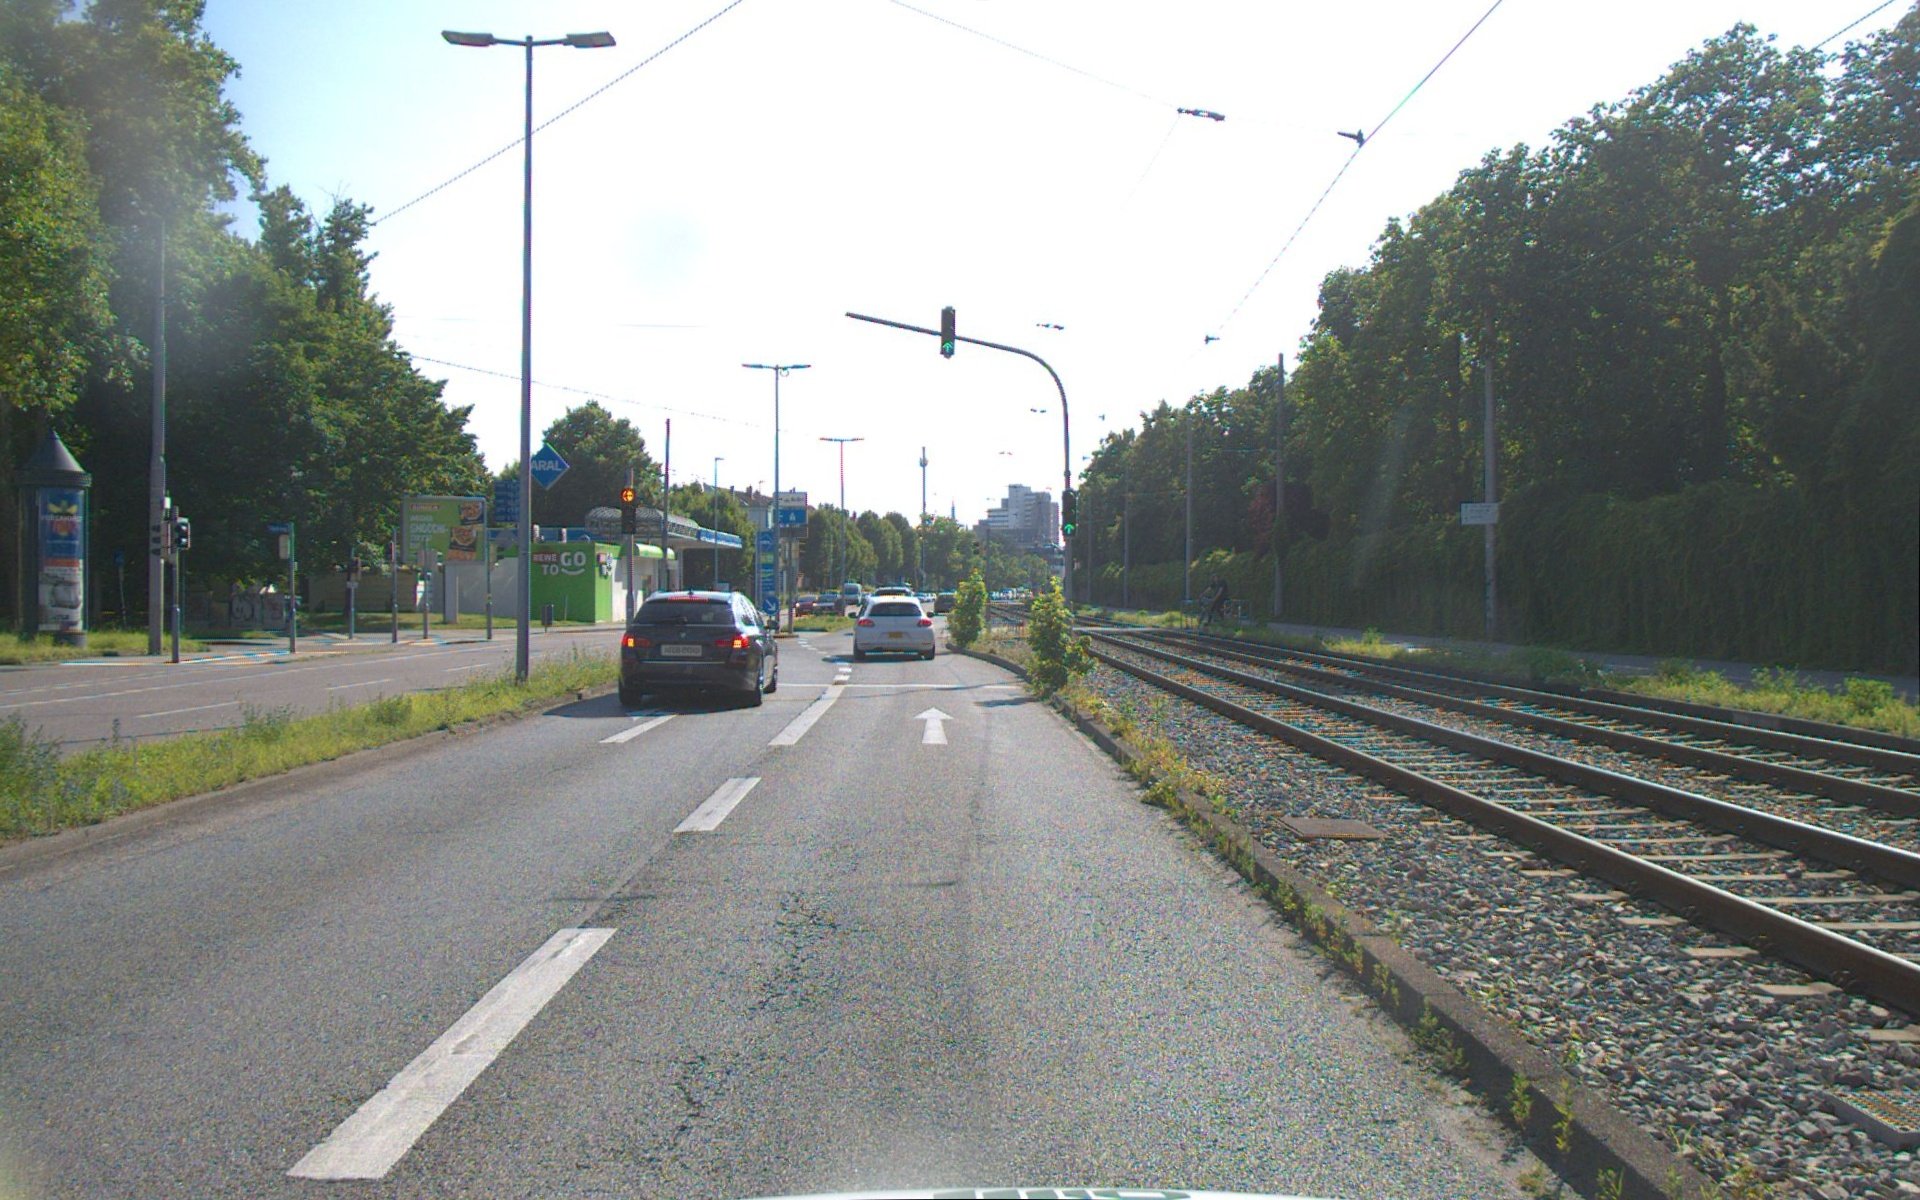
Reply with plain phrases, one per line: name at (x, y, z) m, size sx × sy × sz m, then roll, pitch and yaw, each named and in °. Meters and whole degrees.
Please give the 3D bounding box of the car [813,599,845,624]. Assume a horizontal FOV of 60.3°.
car at (-7.817, 0.690, 98.762) m, size 1.619 × 1.420 × 4.133 m, roll 0°, pitch 0°, yaw -1°

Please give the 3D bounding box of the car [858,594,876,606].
car at (-11.955, -0.007, 213.035) m, size 1.952 × 1.441 × 3.845 m, roll -1°, pitch 0°, yaw 2°

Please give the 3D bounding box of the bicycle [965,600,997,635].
bicycle at (0.739, 0.591, 56.593) m, size 0.629 × 1.174 × 1.938 m, roll -1°, pitch 0°, yaw 15°

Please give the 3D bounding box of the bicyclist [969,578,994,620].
bicyclist at (0.739, -0.034, 56.638) m, size 0.629 × 1.440 × 1.013 m, roll -1°, pitch 0°, yaw 15°

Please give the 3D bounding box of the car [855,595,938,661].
car at (-1.398, 0.609, 37.587) m, size 1.744 × 1.380 × 3.601 m, roll 1°, pitch 0°, yaw 0°

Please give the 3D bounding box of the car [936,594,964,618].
car at (-0.657, 0.369, 108.052) m, size 1.713 × 1.511 × 3.601 m, roll 1°, pitch 0°, yaw 0°

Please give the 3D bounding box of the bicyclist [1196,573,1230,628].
bicyclist at (9.389, 0.031, 61.392) m, size 1.012 × 2.028 × 0.947 m, roll 0°, pitch 0°, yaw 24°

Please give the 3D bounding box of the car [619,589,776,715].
car at (-3.500, 0.631, 22.770) m, size 1.725 × 1.511 × 4.641 m, roll 1°, pitch 0°, yaw -4°

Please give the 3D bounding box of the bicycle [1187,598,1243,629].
bicycle at (9.462, 0.483, 61.362) m, size 1.882 × 1.134 × 0.947 m, roll 0°, pitch 0°, yaw 24°

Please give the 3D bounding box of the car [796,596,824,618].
car at (-10.293, 0.489, 113.649) m, size 1.541 × 1.441 × 3.333 m, roll 0°, pitch 0°, yaw 0°

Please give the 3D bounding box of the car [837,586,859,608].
car at (-12.549, -0.330, 185.978) m, size 1.952 × 2.418 × 4.540 m, roll -1°, pitch 0°, yaw 3°
